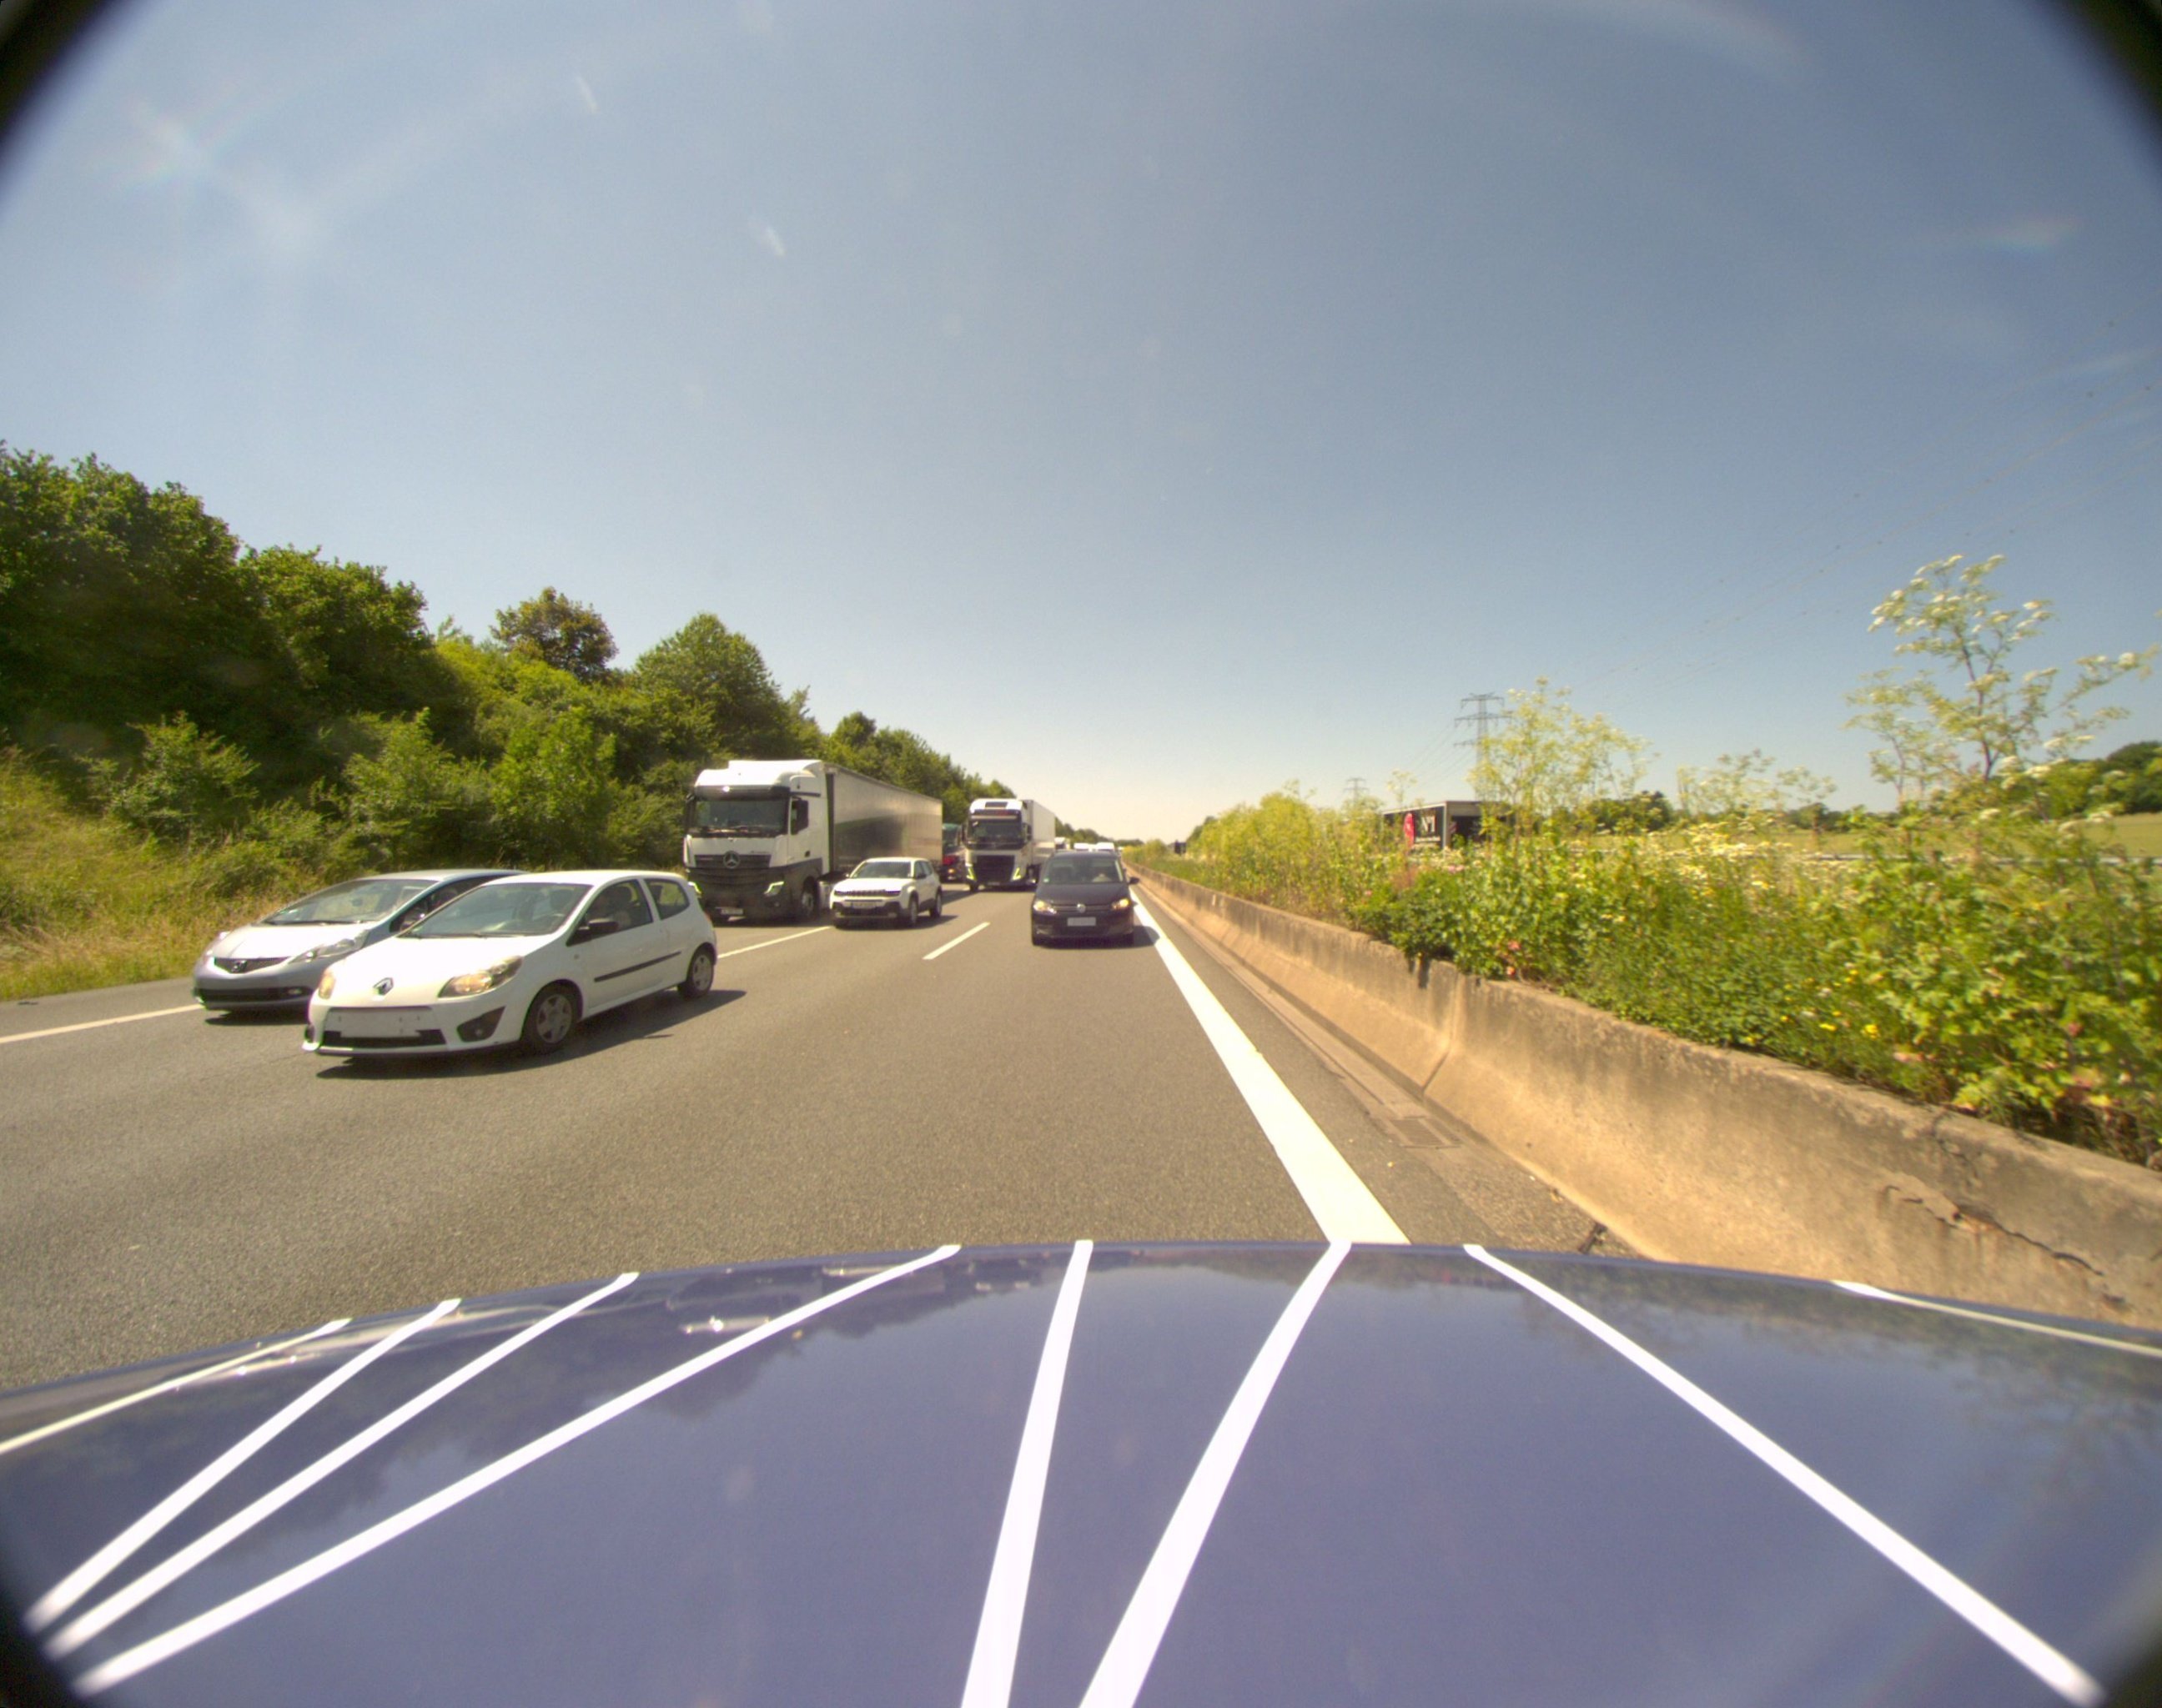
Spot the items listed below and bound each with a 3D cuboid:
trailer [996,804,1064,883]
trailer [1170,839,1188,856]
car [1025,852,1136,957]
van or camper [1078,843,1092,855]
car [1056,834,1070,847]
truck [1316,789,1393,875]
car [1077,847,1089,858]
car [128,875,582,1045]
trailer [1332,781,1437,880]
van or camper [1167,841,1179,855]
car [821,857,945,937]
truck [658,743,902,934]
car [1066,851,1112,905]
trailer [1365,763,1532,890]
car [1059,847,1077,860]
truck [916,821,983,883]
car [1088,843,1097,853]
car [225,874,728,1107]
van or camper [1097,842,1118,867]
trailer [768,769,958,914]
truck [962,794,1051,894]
[{"bbox_3d":[-2.697,-0.602,43.300,2.776,3.951,9.156,-1,1,3],"label":"trailer"},{"bbox_3d":[22.689,-1.509,176.342,3.190,3.740,8.200,0,0,1],"label":"trailer"},{"bbox_3d":[0.090,0.798,14.742,1.758,1.571,5.291,0,1,2],"label":"car"},{"bbox_3d":[0.773,-0.911,132.314,2.189,2.018,4.364,-1,1,3],"label":"van or camper"},{"bbox_3d":[-2.985,-2.226,125.679,1.998,2.002,4.000,-1,1,2],"label":"car"},{"bbox_3d":[16.782,-1.294,46.905,3.311,5.021,4.032,-1,1,1],"label":"truck"},{"bbox_3d":[0.393,-0.272,118.188,1.652,1.636,4.000,-1,1,3],"label":"car"},{"bbox_3d":[-8.197,1.063,9.189,1.666,1.453,3.922,0,1,1],"label":"car"},{"bbox_3d":[16.678,-1.260,42.340,3.330,5.018,6.703,-1,1,1],"label":"trailer"},{"bbox_3d":[18.715,-1.191,154.269,2.053,2.843,4.649,0,1,1],"label":"van or camper"},{"bbox_3d":[-4.457,0.909,17.711,1.748,1.549,3.884,0,1,2],"label":"car"},{"bbox_3d":[-7.607,-0.386,20.900,2.879,4.133,8.475,-1,1,3],"label":"truck"},{"bbox_3d":[0.307,0.745,25.600,1.357,1.630,2.994,-2,1,3],"label":"car"},{"bbox_3d":[16.472,-1.172,35.151,3.330,5.018,9.590,-1,1,2],"label":"trailer"},{"bbox_3d":[-1.405,-0.052,82.098,1.650,1.336,3.381,-1,1,3],"label":"car"},{"bbox_3d":[-7.020,-0.141,41.190,2.299,3.128,5.675,-1,1,3],"label":"truck"},{"bbox_3d":[2.569,-1.312,168.256,1.998,2.302,4.229,-1,1,2],"label":"car"},{"bbox_3d":[-5.063,0.994,7.155,1.609,1.426,3.809,0,1,1],"label":"car"},{"bbox_3d":[2.695,-0.020,75.910,1.956,2.368,4.037,-2,1,3],"label":"van or camper"},{"bbox_3d":[-7.252,-0.448,27.928,2.879,4.133,12.076,-1,1,3],"label":"trailer"},{"bbox_3d":[-3.170,-0.466,34.746,2.750,3.972,8.361,-1,1,3],"label":"truck"}]
